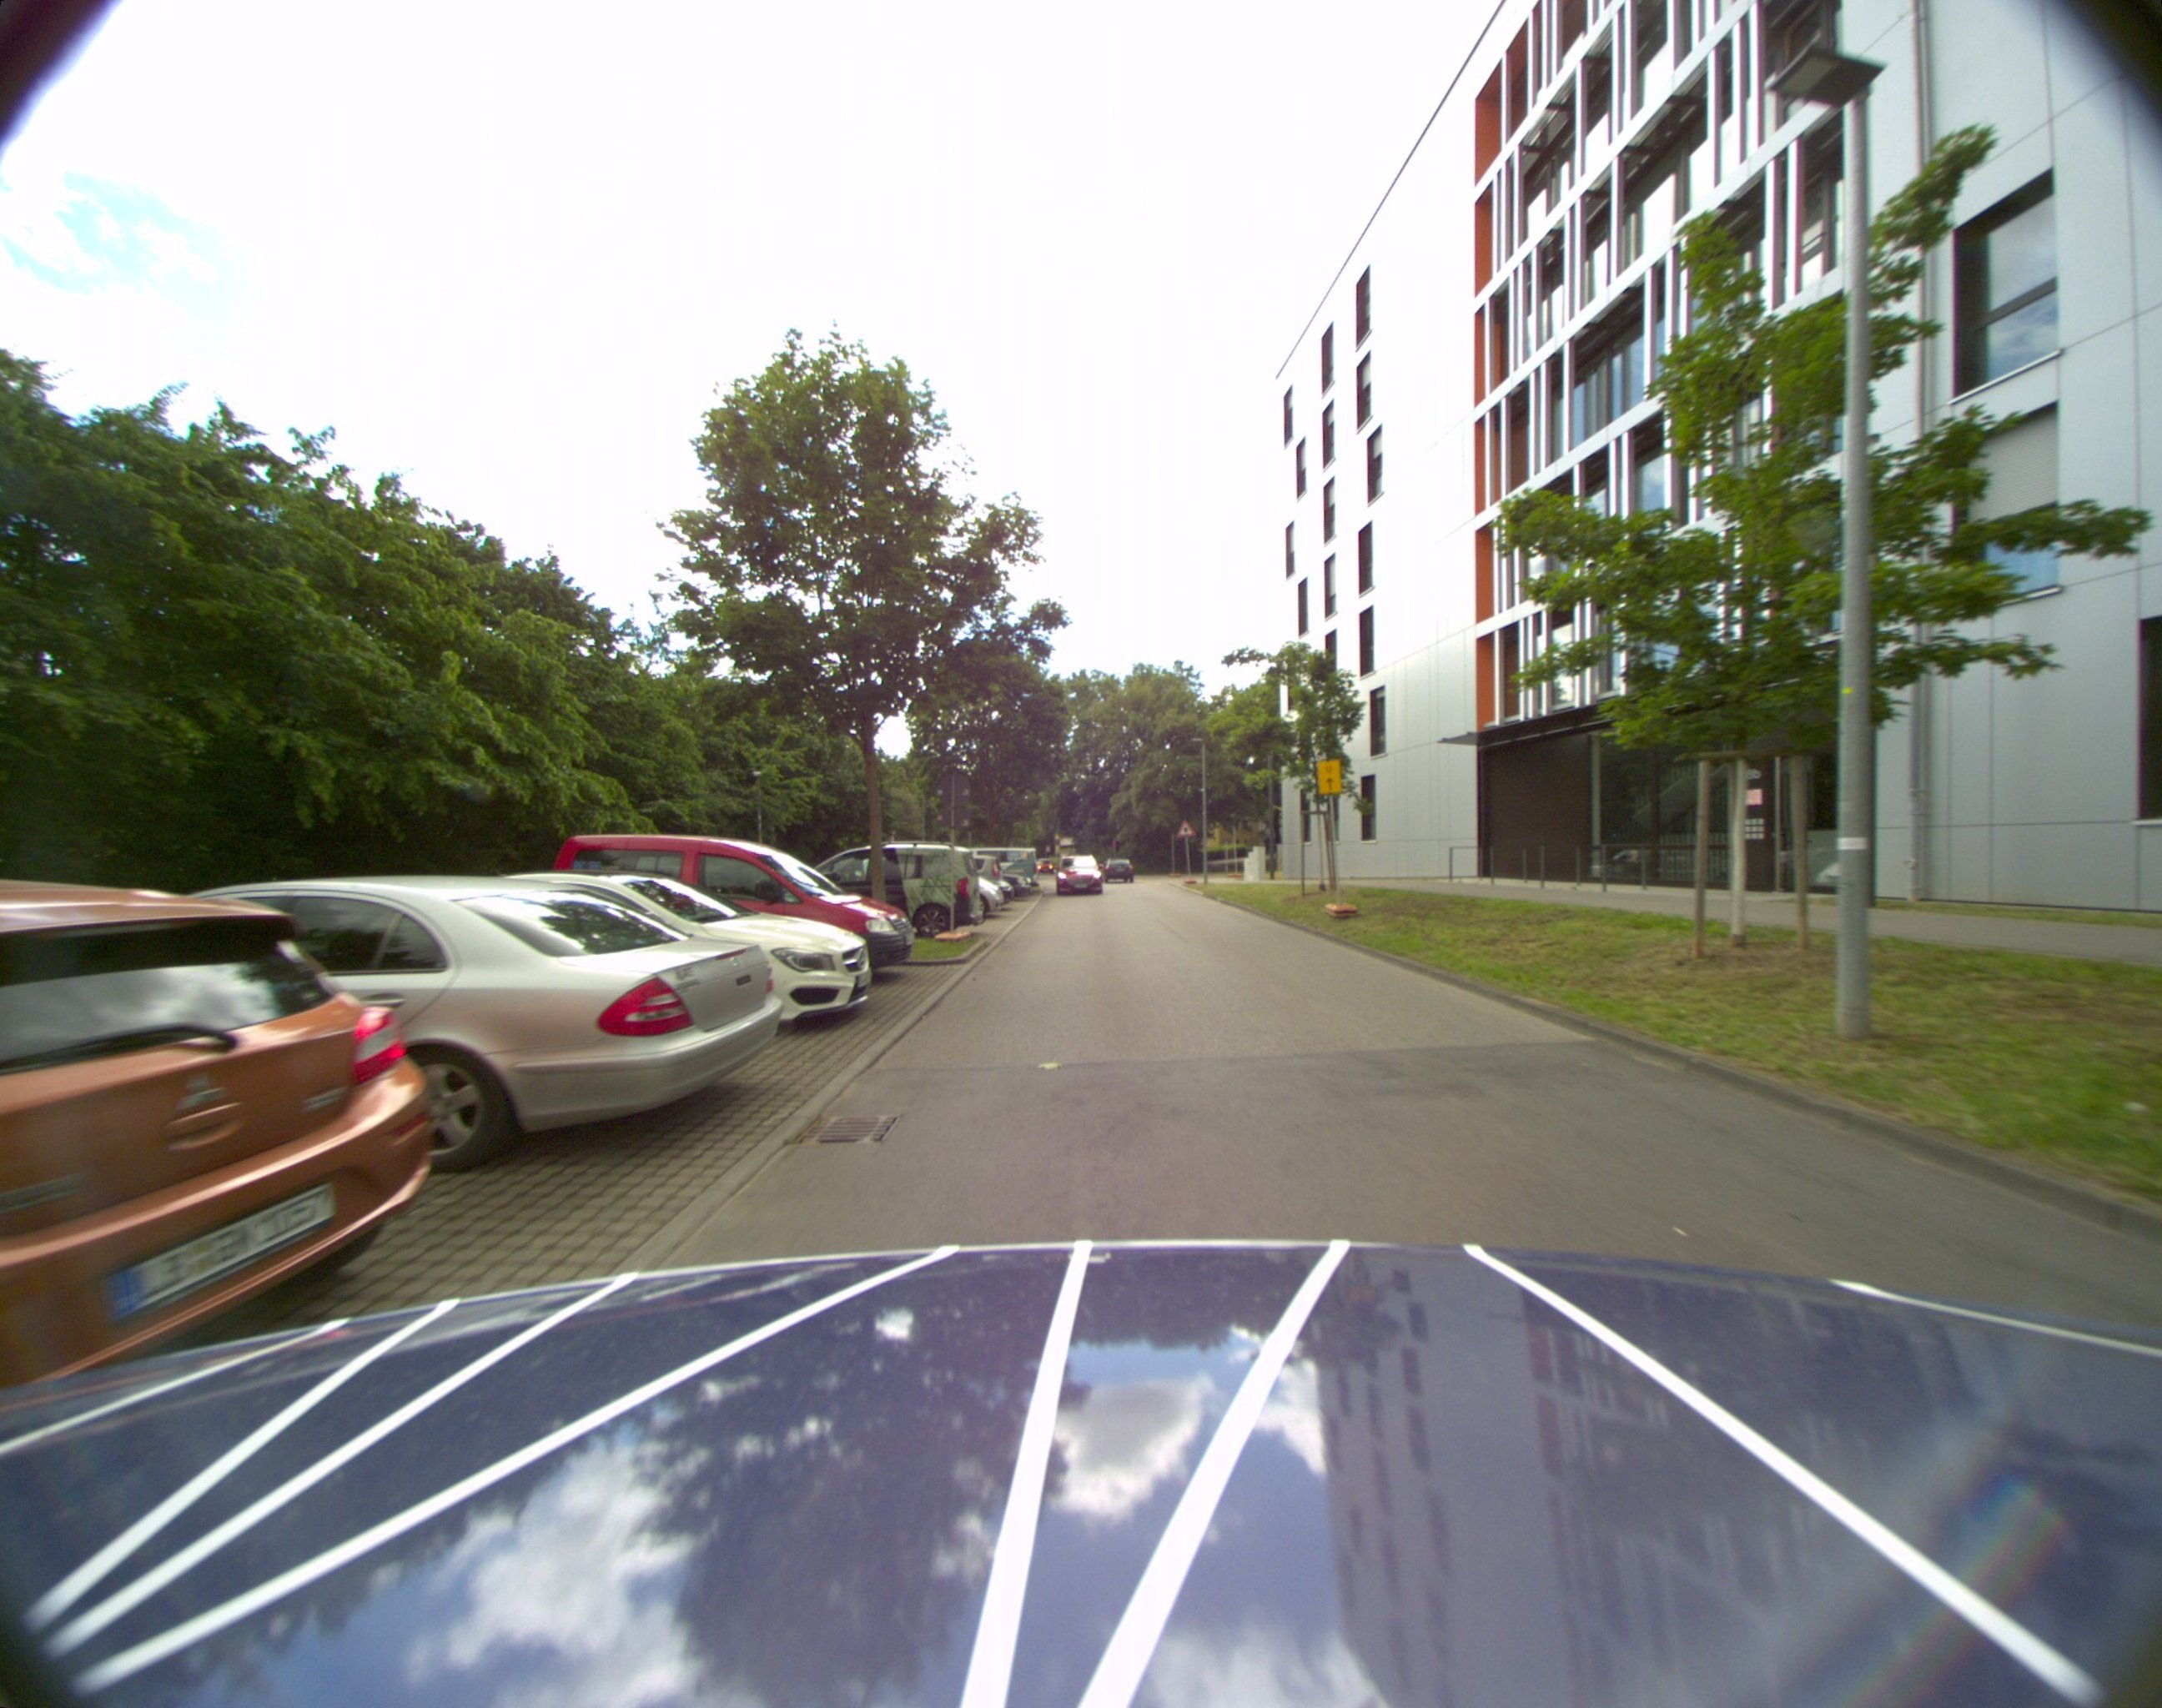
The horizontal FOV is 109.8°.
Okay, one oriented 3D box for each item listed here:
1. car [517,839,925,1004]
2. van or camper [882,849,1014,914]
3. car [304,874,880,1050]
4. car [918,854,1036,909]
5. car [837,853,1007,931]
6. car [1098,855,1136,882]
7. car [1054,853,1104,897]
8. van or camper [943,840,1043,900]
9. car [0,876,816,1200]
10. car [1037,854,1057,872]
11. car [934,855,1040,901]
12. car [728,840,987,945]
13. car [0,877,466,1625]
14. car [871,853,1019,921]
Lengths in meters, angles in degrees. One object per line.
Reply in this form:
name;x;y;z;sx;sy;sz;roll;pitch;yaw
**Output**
car;-4.307;0.770;9.662;4.292;1.881;1.837;0;0;-2
van or camper;-4.305;0.882;25.111;3.979;1.862;1.728;-3;0;-1
car;-4.306;0.921;7.271;4.292;1.401;1.837;0;0;-2
car;-3.715;0.975;27.714;3.979;1.722;1.884;-3;0;-1
car;-4.040;0.940;19.867;3.979;1.722;1.884;-3;0;-1
car;2.031;0.819;44.034;1.674;1.383;3.998;-3;1;-4
car;-0.077;0.827;32.471;1.933;1.622;4.242;-3;1;0
van or camper;-3.708;0.665;32.573;3.979;2.306;1.884;-3;1;-1
car;-4.106;0.873;4.452;4.407;1.427;1.944;0;0;0
car;-3.244;0.856;72.869;1.818;1.608;3.998;0;0;-4
car;-3.660;0.914;30.271;3.979;1.594;2.105;-1;3;-2
car;-4.262;0.720;15.060;4.562;1.888;1.884;1;0;-2
car;-4.400;0.880;2.059;4.157;1.582;1.677;0;0;2
car;-3.946;0.928;22.556;3.979;1.722;1.884;-3;0;-1
